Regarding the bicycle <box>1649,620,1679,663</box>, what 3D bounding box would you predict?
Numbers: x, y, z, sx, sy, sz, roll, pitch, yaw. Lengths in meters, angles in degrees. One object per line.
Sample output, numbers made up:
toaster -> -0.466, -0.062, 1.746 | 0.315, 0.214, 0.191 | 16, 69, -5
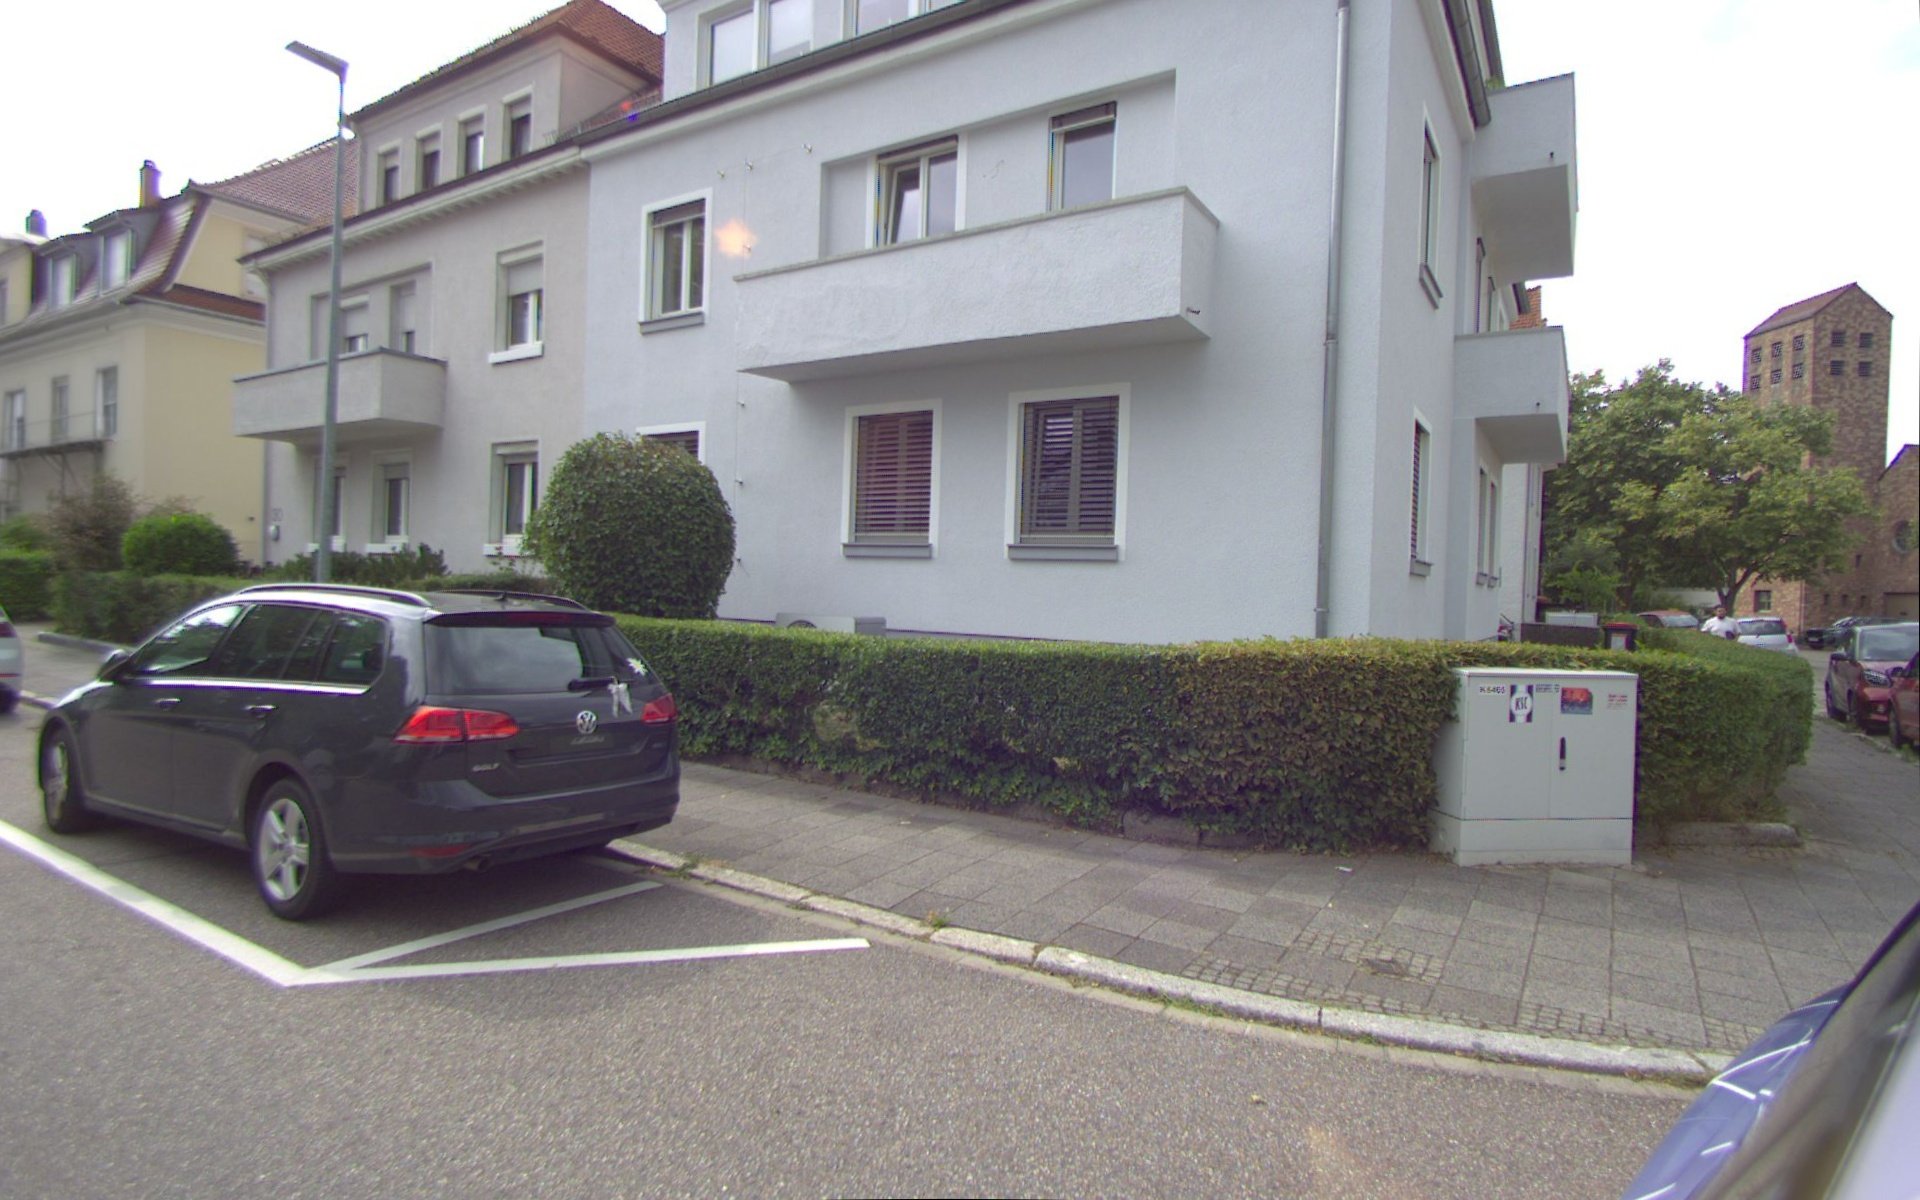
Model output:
bicycle -> 20.114, 1.158, 28.935 | 0.419, 1.117, 2.094 | 2, 1, 28

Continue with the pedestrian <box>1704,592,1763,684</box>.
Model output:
pedestrian -> 16.791, 0.803, 21.994 | 0.878, 1.902, 1.066 | 2, 1, 33

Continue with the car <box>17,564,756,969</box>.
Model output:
car -> -3.362, 0.607, 5.769 | 4.141, 1.490, 1.840 | 2, 1, 30

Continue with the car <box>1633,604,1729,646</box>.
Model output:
car -> 27.829, 0.948, 39.165 | 1.624, 1.515, 3.470 | -1, -1, 10

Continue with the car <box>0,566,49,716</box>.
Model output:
car -> -11.661, 0.341, 10.923 | 4.148, 1.490, 1.836 | 3, 1, 35

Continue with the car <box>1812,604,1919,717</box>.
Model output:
car -> 14.138, 0.829, 15.111 | 1.638, 1.515, 3.441 | -2, -1, 32

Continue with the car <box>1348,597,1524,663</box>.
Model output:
car -> 12.597, 0.732, 26.841 | 3.973, 1.482, 1.975 | 2, 1, 34

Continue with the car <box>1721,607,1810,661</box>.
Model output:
car -> 24.088, 0.986, 30.367 | 1.638, 1.515, 3.441 | -2, -1, 32

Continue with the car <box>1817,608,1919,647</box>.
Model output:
car -> 40.733, 1.221, 44.632 | 4.198, 1.482, 1.665 | 3, 3, 33

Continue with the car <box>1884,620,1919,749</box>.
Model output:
car -> 11.969, 1.004, 11.402 | 1.638, 1.515, 3.441 | -2, -1, 32
